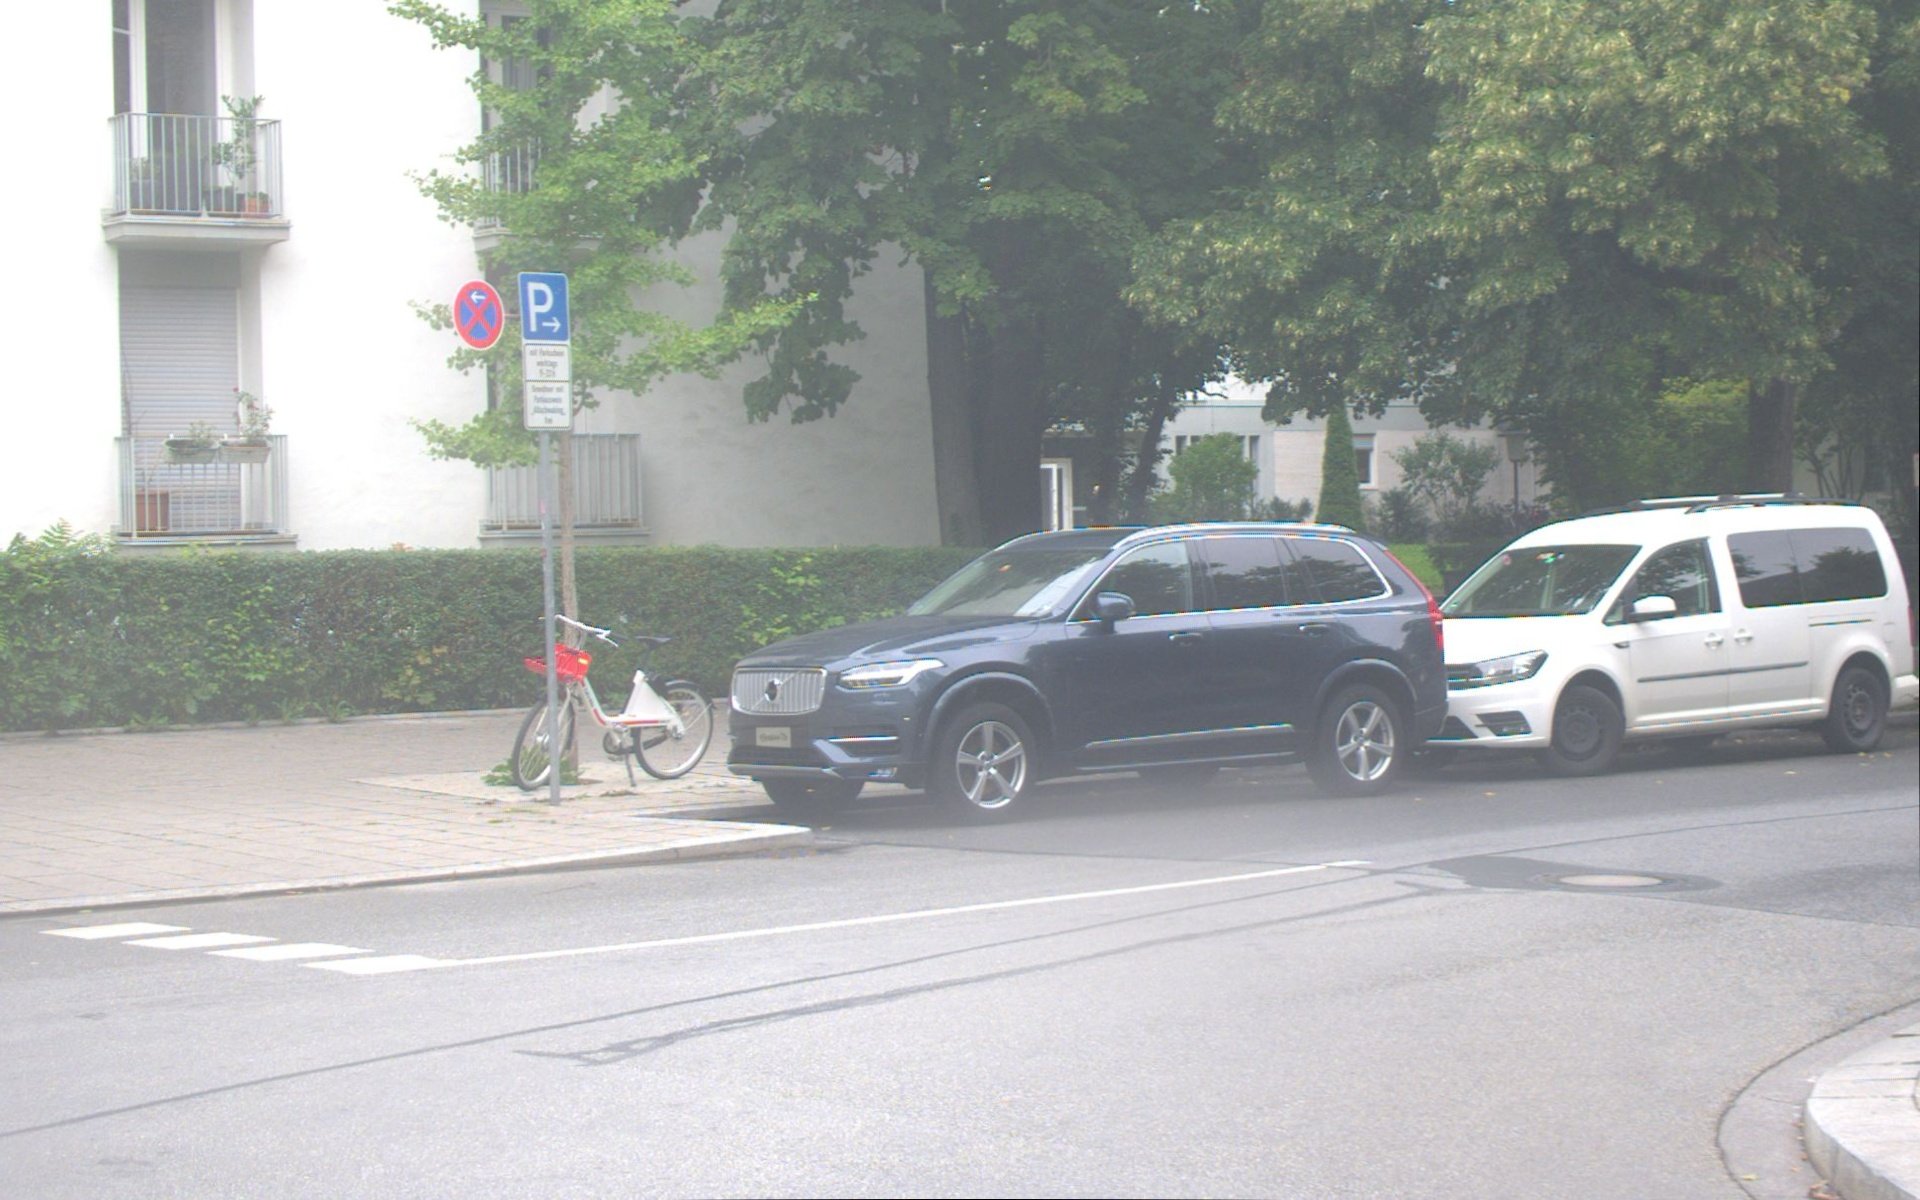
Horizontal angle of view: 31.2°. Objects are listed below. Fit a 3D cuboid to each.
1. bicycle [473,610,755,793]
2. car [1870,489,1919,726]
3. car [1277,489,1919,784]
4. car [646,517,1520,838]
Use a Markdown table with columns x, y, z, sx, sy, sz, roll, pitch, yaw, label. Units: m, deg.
| x | y | z | sx | sy | sz | roll | pitch | yaw | label |
| --- | --- | --- | --- | --- | --- | --- | --- | --- | --- |
| -2.220 | 0.635 | 22.241 | 0.753 | 1.081 | 1.780 | 0 | 1 | 40 | bicycle |
| 10.204 | -0.021 | 29.024 | 5.651 | 1.901 | 2.031 | -2 | 0 | -41 | car |
| 4.775 | 0.185 | 24.768 | 4.844 | 1.897 | 2.090 | -2 | 1 | -39 | car |
| 0.864 | 0.386 | 21.376 | 5.289 | 1.713 | 2.090 | -2 | 1 | -38 | car |
